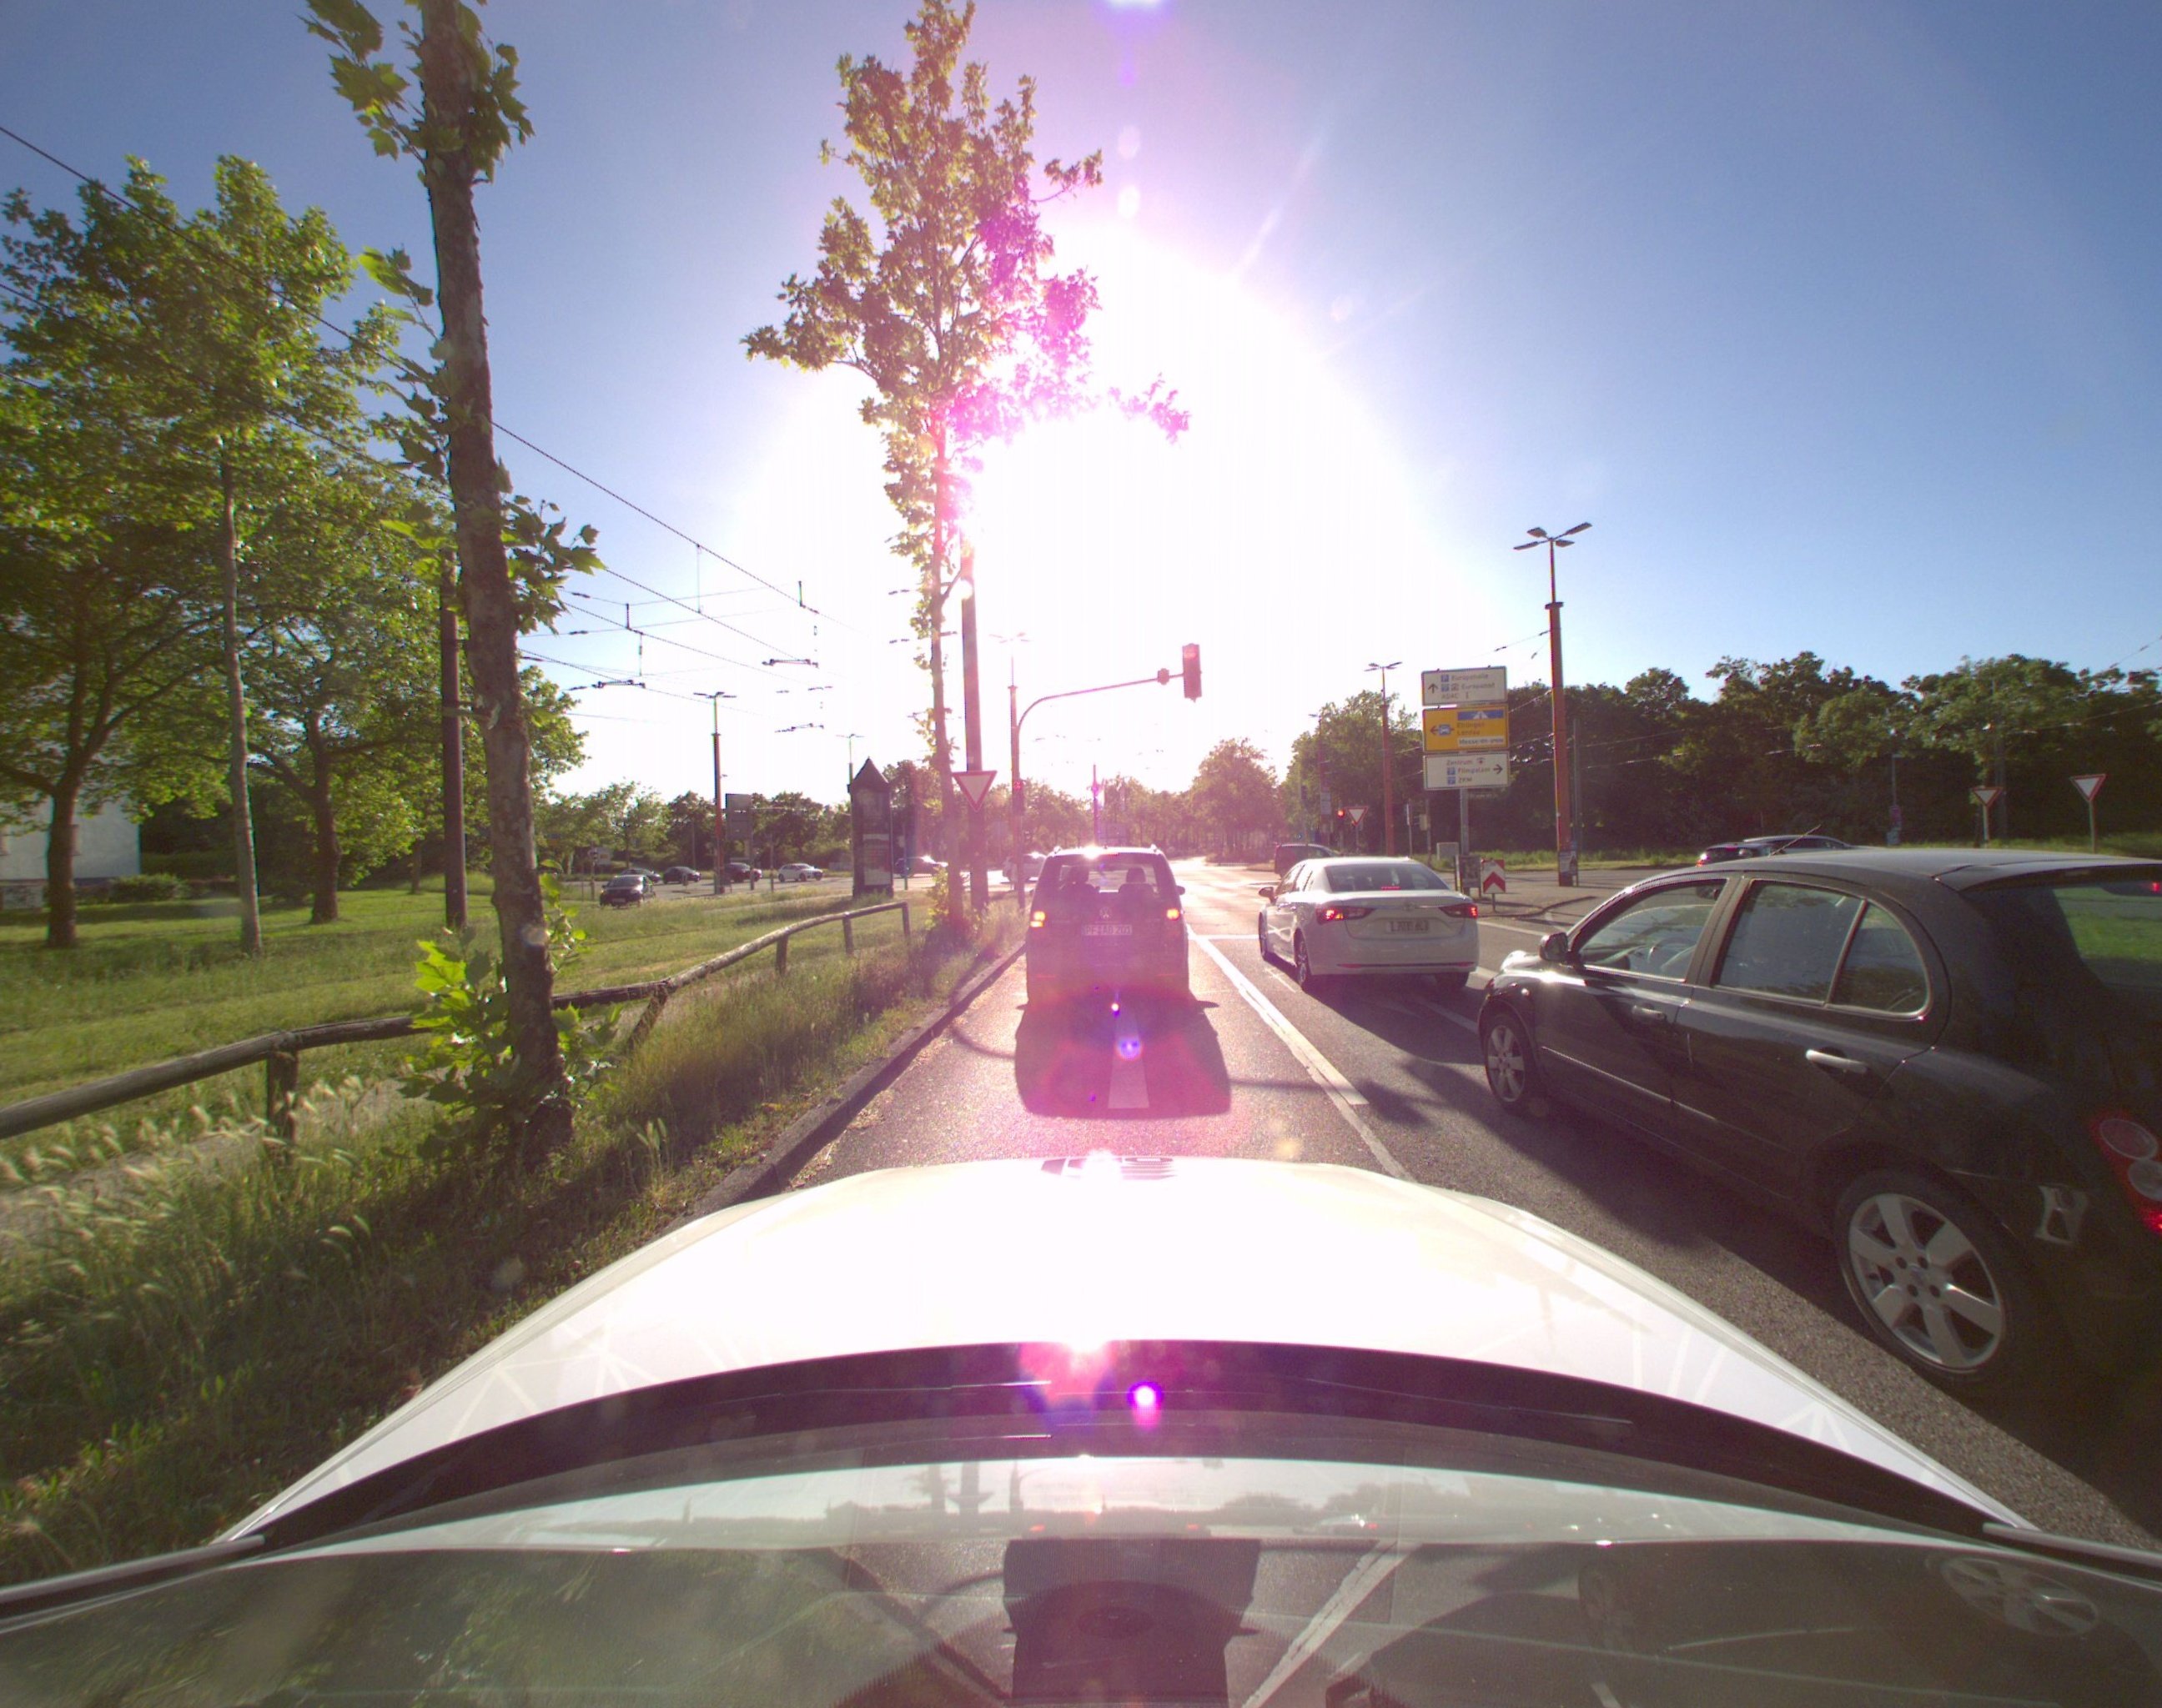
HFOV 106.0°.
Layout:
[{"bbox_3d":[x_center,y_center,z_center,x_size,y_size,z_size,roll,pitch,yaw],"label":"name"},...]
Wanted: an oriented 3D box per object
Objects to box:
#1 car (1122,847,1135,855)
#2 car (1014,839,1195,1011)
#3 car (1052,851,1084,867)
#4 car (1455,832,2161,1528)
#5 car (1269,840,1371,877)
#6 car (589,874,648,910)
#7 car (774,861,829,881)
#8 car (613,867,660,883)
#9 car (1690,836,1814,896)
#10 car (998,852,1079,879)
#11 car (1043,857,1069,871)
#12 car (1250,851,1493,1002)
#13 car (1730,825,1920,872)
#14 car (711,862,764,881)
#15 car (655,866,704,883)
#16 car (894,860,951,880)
[{"bbox_3d":[10.472,-0.669,178.063,1.979,1.684,4.846,-2,0,14],"label":"car"},{"bbox_3d":[0.294,0.698,9.981,1.731,1.641,4.002,-2,0,2],"label":"car"},{"bbox_3d":[-1.426,0.519,91.991,1.977,1.684,4.853,-2,0,20],"label":"car"},{"bbox_3d":[3.165,0.696,3.505,1.550,1.506,3.517,-2,0,2],"label":"car"},{"bbox_3d":[12.485,0.245,42.611,4.735,1.836,1.926,-2,0,29],"label":"car"},{"bbox_3d":[-20.300,1.631,35.857,1.829,1.420,3.728,-2,0,-24],"label":"car"},{"bbox_3d":[-23.090,1.401,67.219,4.169,1.464,1.926,-2,0,29],"label":"car"},{"bbox_3d":[-42.355,1.990,77.642,4.187,1.464,1.926,-2,0,28],"label":"car"},{"bbox_3d":[18.310,0.280,22.177,3.911,1.469,1.732,-2,0,-38],"label":"car"},{"bbox_3d":[-2.715,0.749,51.636,4.735,1.598,1.926,-2,0,29],"label":"car"},{"bbox_3d":[-3.054,1.212,101.895,1.979,1.684,4.847,-2,0,14],"label":"car"},{"bbox_3d":[3.295,0.721,10.109,1.708,1.454,4.147,-2,0,3],"label":"car"},{"bbox_3d":[27.352,-0.175,30.210,4.867,1.575,2.013,-2,0,30],"label":"car"},{"bbox_3d":[-30.012,1.527,71.112,4.318,1.464,1.926,-2,0,29],"label":"car"},{"bbox_3d":[-36.699,1.869,74.447,4.005,1.464,1.926,-2,0,28],"label":"car"},{"bbox_3d":[-12.955,1.302,66.701,4.196,1.464,1.913,-2,0,-1],"label":"car"}]
